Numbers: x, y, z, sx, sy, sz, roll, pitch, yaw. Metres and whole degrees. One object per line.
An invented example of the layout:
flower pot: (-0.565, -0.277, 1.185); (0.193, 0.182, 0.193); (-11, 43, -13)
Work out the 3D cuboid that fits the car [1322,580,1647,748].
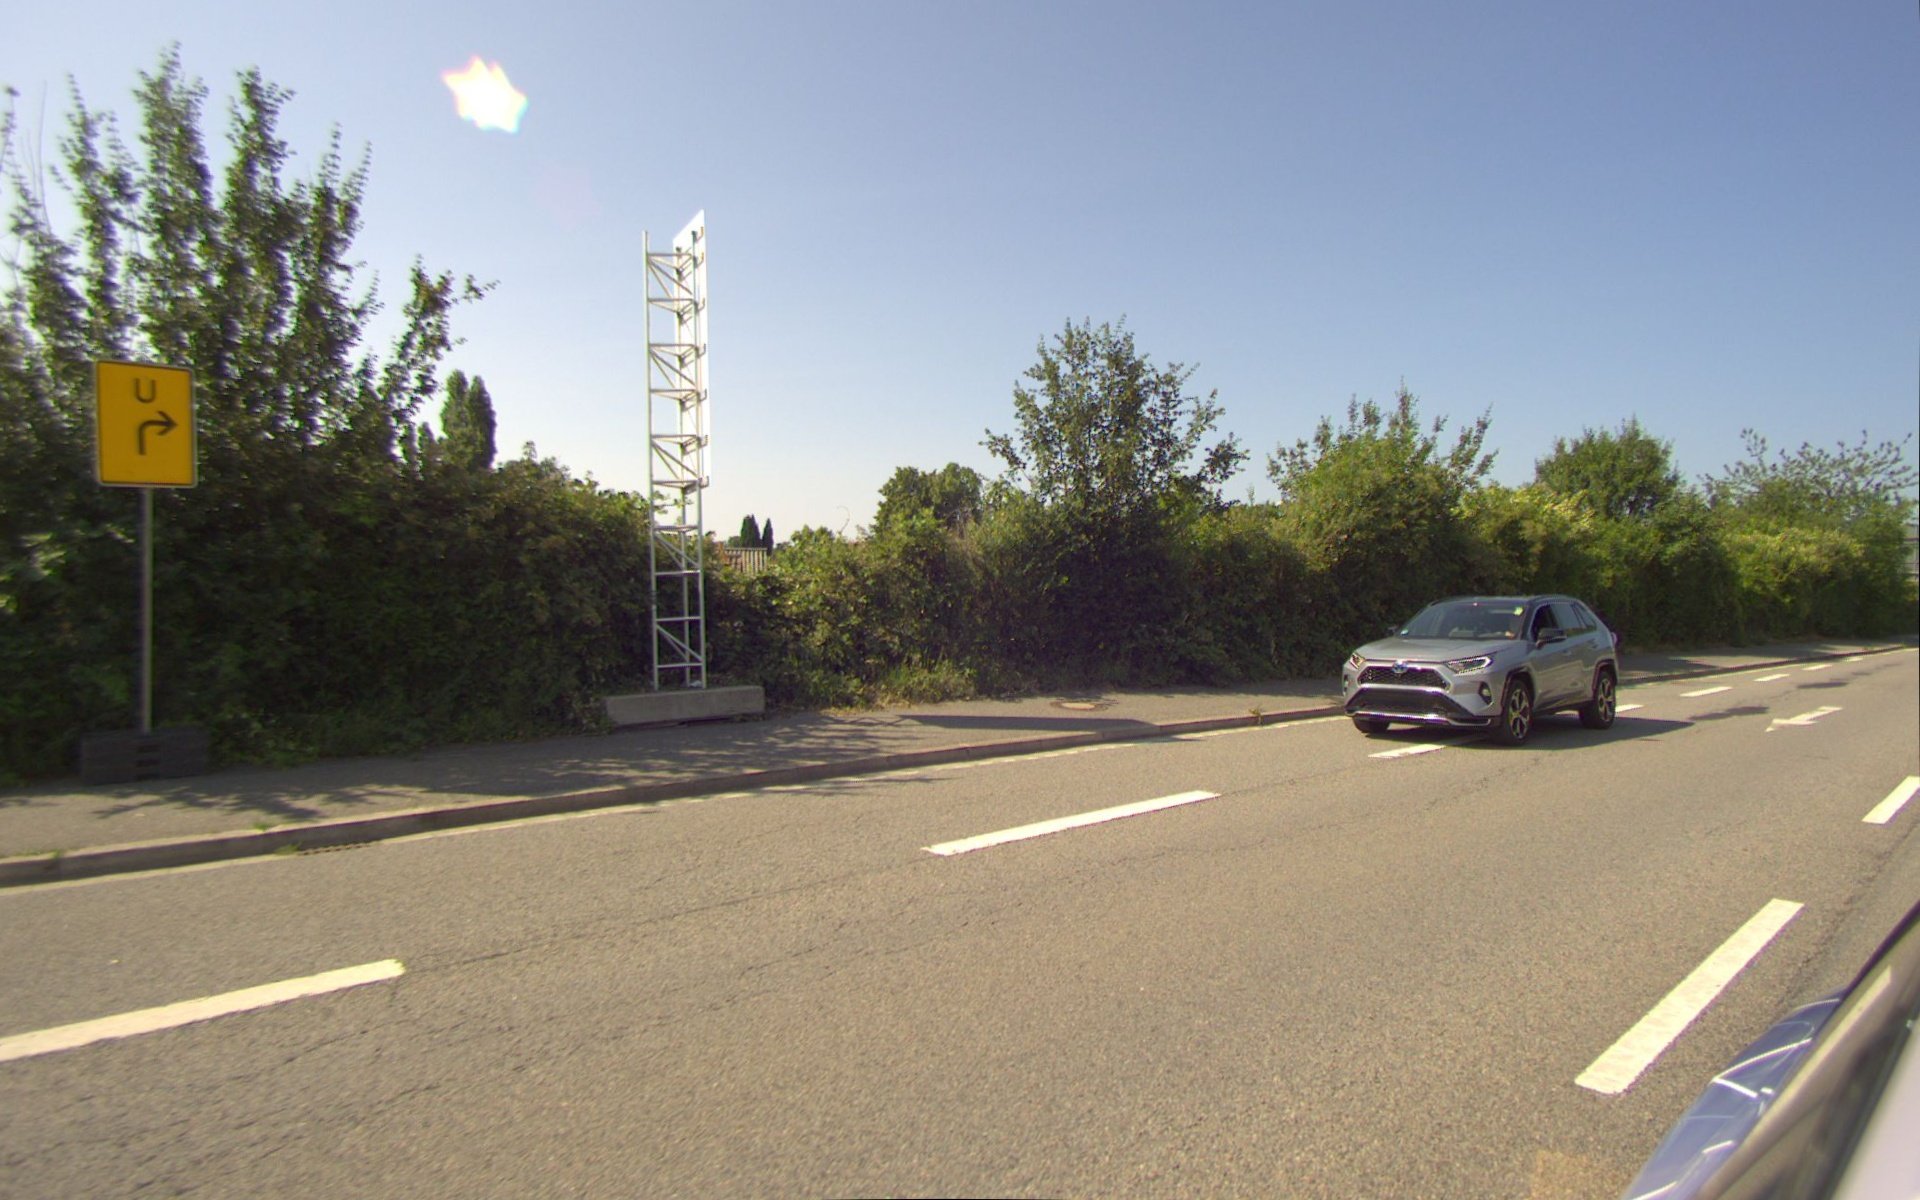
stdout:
car: (6.592, 0.669, 12.497); (4.599, 1.701, 1.906); (0, -1, -39)
